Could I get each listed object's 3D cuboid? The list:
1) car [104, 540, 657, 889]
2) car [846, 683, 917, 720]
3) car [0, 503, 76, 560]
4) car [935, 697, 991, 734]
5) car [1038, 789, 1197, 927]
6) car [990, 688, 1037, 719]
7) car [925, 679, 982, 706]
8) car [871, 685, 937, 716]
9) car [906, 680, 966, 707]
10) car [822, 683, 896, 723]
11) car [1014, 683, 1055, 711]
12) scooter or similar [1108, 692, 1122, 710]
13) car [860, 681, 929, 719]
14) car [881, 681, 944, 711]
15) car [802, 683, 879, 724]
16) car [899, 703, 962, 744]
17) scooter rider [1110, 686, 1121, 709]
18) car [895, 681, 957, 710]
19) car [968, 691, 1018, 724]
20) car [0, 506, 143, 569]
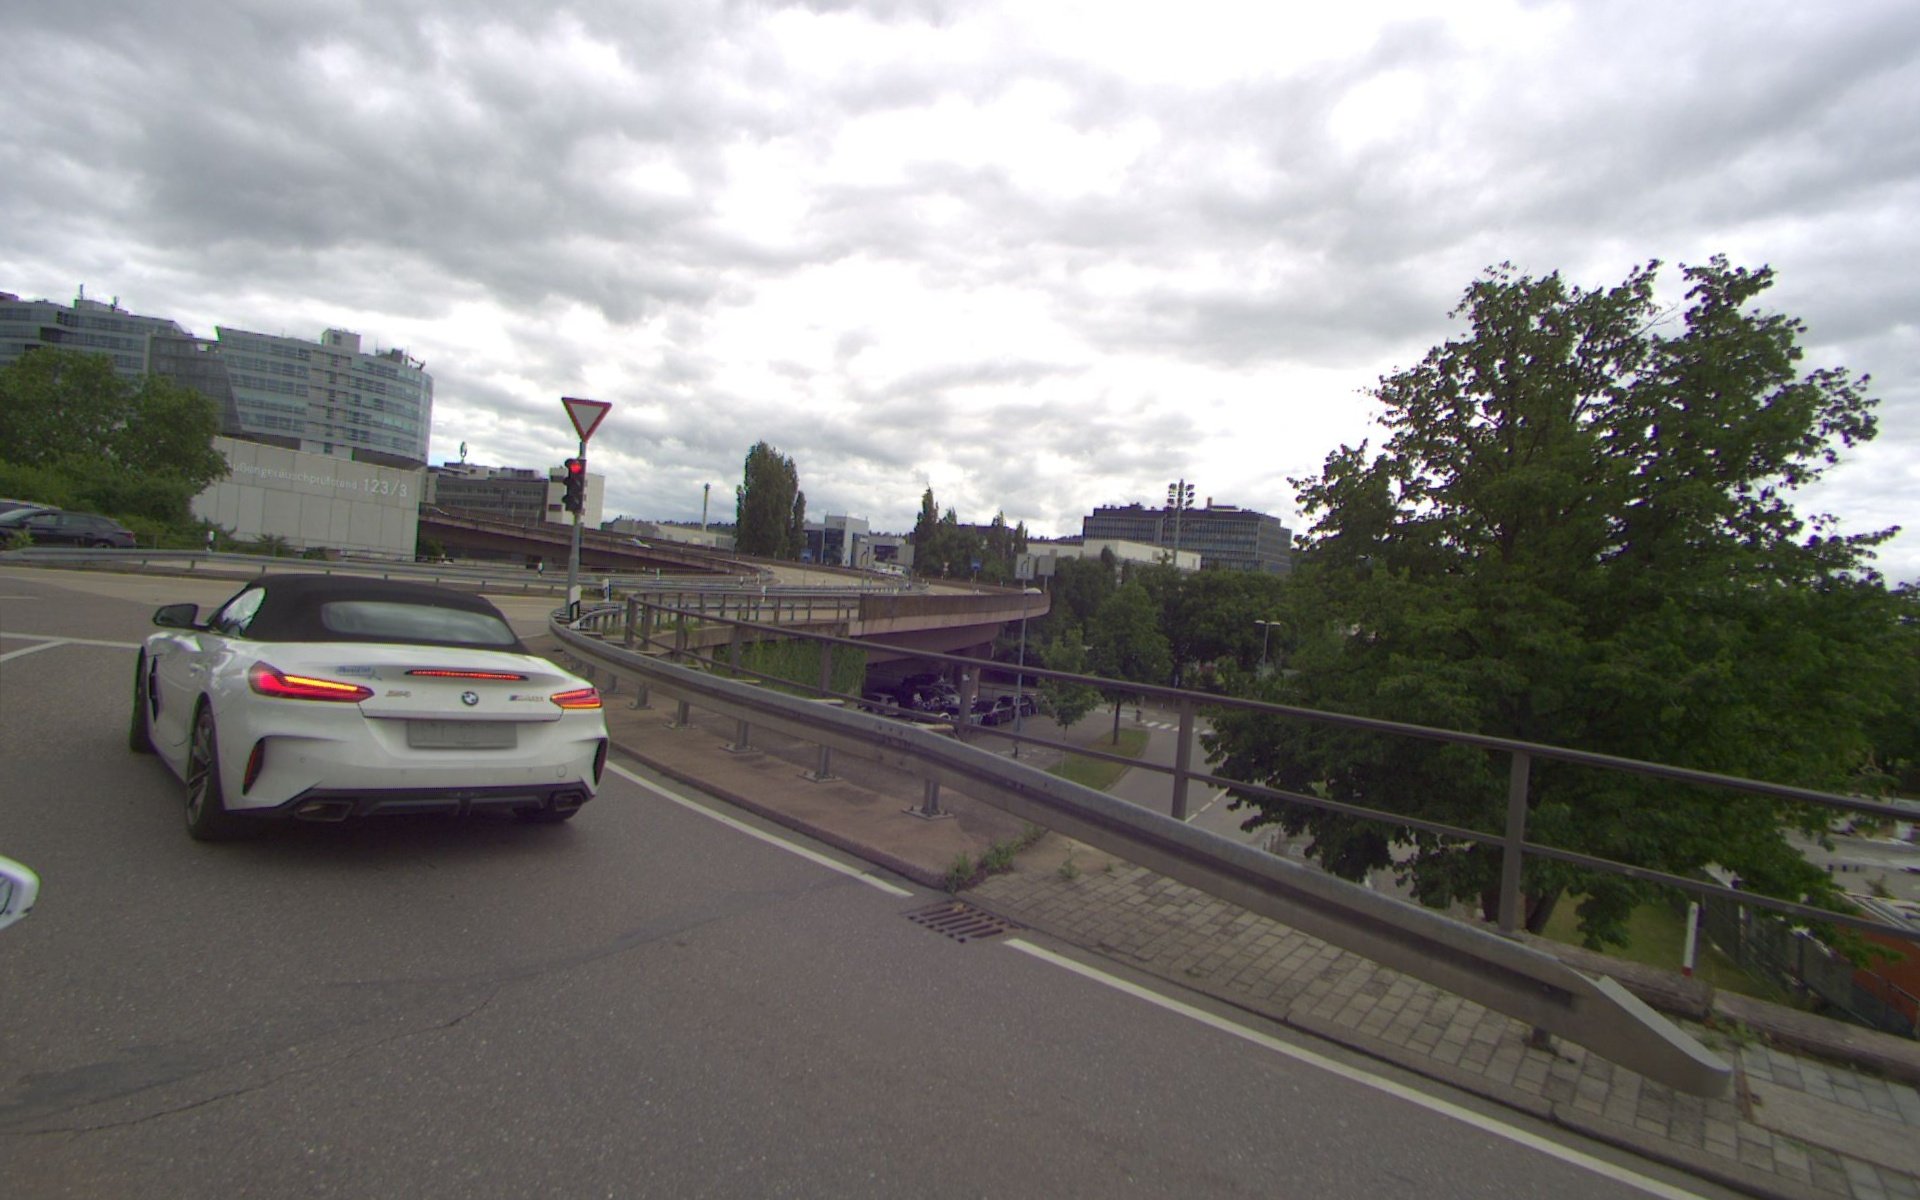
[{"bbox_3d":[-3.812,0.478,6.228,4.208,1.307,1.802,6,-2,44],"label":"car"},{"bbox_3d":[-4.797,6.167,61.301,3.790,1.638,1.826,7,1,16],"label":"car"},{"bbox_3d":[-31.531,-2.396,32.000,1.922,1.590,4.688,7,-1,28],"label":"car"},{"bbox_3d":[0.188,6.563,57.377,1.793,1.553,3.998,7,1,20],"label":"car"},{"bbox_3d":[4.389,6.777,27.163,1.982,2.618,5.385,9,-1,32],"label":"car"},{"bbox_3d":[3.597,6.824,66.959,1.793,1.553,4.193,7,1,20],"label":"car"},{"bbox_3d":[-0.451,6.881,74.916,3.790,1.372,1.826,7,1,16],"label":"car"},{"bbox_3d":[-3.654,6.527,65.738,3.790,1.372,1.826,7,1,16],"label":"car"},{"bbox_3d":[-1.723,6.707,72.381,3.790,1.372,1.826,7,1,16],"label":"car"},{"bbox_3d":[-5.893,6.007,58.842,3.790,1.658,1.826,7,1,16],"label":"car"},{"bbox_3d":[5.424,6.982,72.820,1.793,1.553,3.998,7,1,20],"label":"car"},{"bbox_3d":[12.361,8.052,80.260,0.484,1.200,1.066,6,2,-24],"label":"scooter or similar"},{"bbox_3d":[-4.142,6.263,63.435,3.790,1.783,1.826,7,1,16],"label":"car"},{"bbox_3d":[-3.213,6.496,68.167,3.790,1.372,1.826,7,1,16],"label":"car"},{"bbox_3d":[-6.723,5.840,56.776,3.790,1.658,1.826,7,1,16],"label":"car"},{"bbox_3d":[-1.499,6.425,52.526,1.793,1.553,3.998,7,1,20],"label":"car"},{"bbox_3d":[12.398,7.758,80.227,0.484,1.776,0.545,6,2,-25],"label":"scooter rider"},{"bbox_3d":[-2.370,6.680,70.363,3.790,1.372,1.826,7,1,16],"label":"car"},{"bbox_3d":[2.097,6.640,62.489,1.793,1.553,3.998,7,1,20],"label":"car"},{"bbox_3d":[-27.920,-1.971,30.348,1.921,1.475,4.617,7,-1,25],"label":"car"}]
